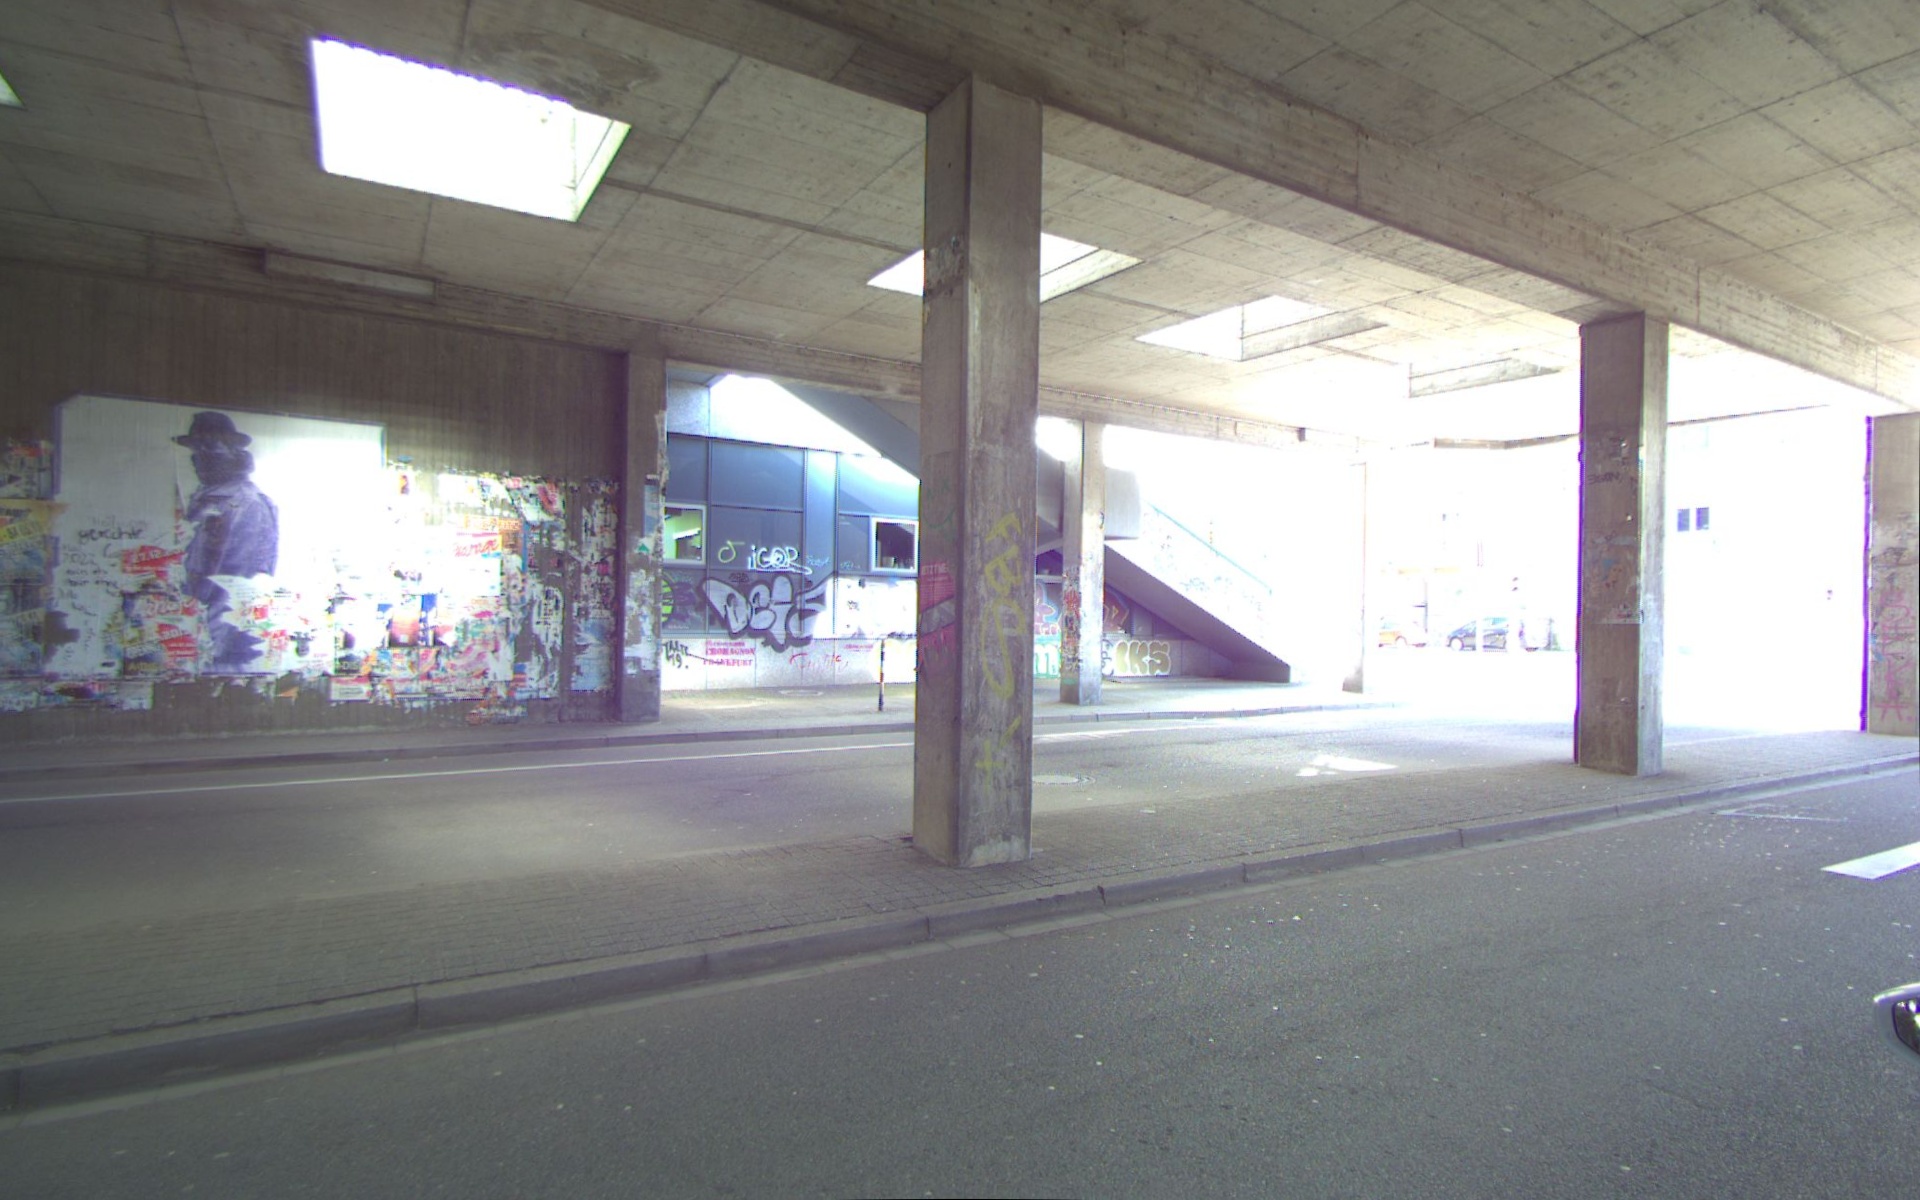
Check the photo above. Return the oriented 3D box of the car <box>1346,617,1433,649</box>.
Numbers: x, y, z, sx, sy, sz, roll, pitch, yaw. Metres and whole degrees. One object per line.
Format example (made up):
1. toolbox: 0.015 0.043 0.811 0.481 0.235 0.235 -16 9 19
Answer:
1. car: 22.470 1.683 52.675 1.876 1.561 3.861 0 0 -29

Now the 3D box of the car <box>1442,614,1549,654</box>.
1. car: 25.330 1.571 47.647 1.939 1.747 4.141 0 0 -29
